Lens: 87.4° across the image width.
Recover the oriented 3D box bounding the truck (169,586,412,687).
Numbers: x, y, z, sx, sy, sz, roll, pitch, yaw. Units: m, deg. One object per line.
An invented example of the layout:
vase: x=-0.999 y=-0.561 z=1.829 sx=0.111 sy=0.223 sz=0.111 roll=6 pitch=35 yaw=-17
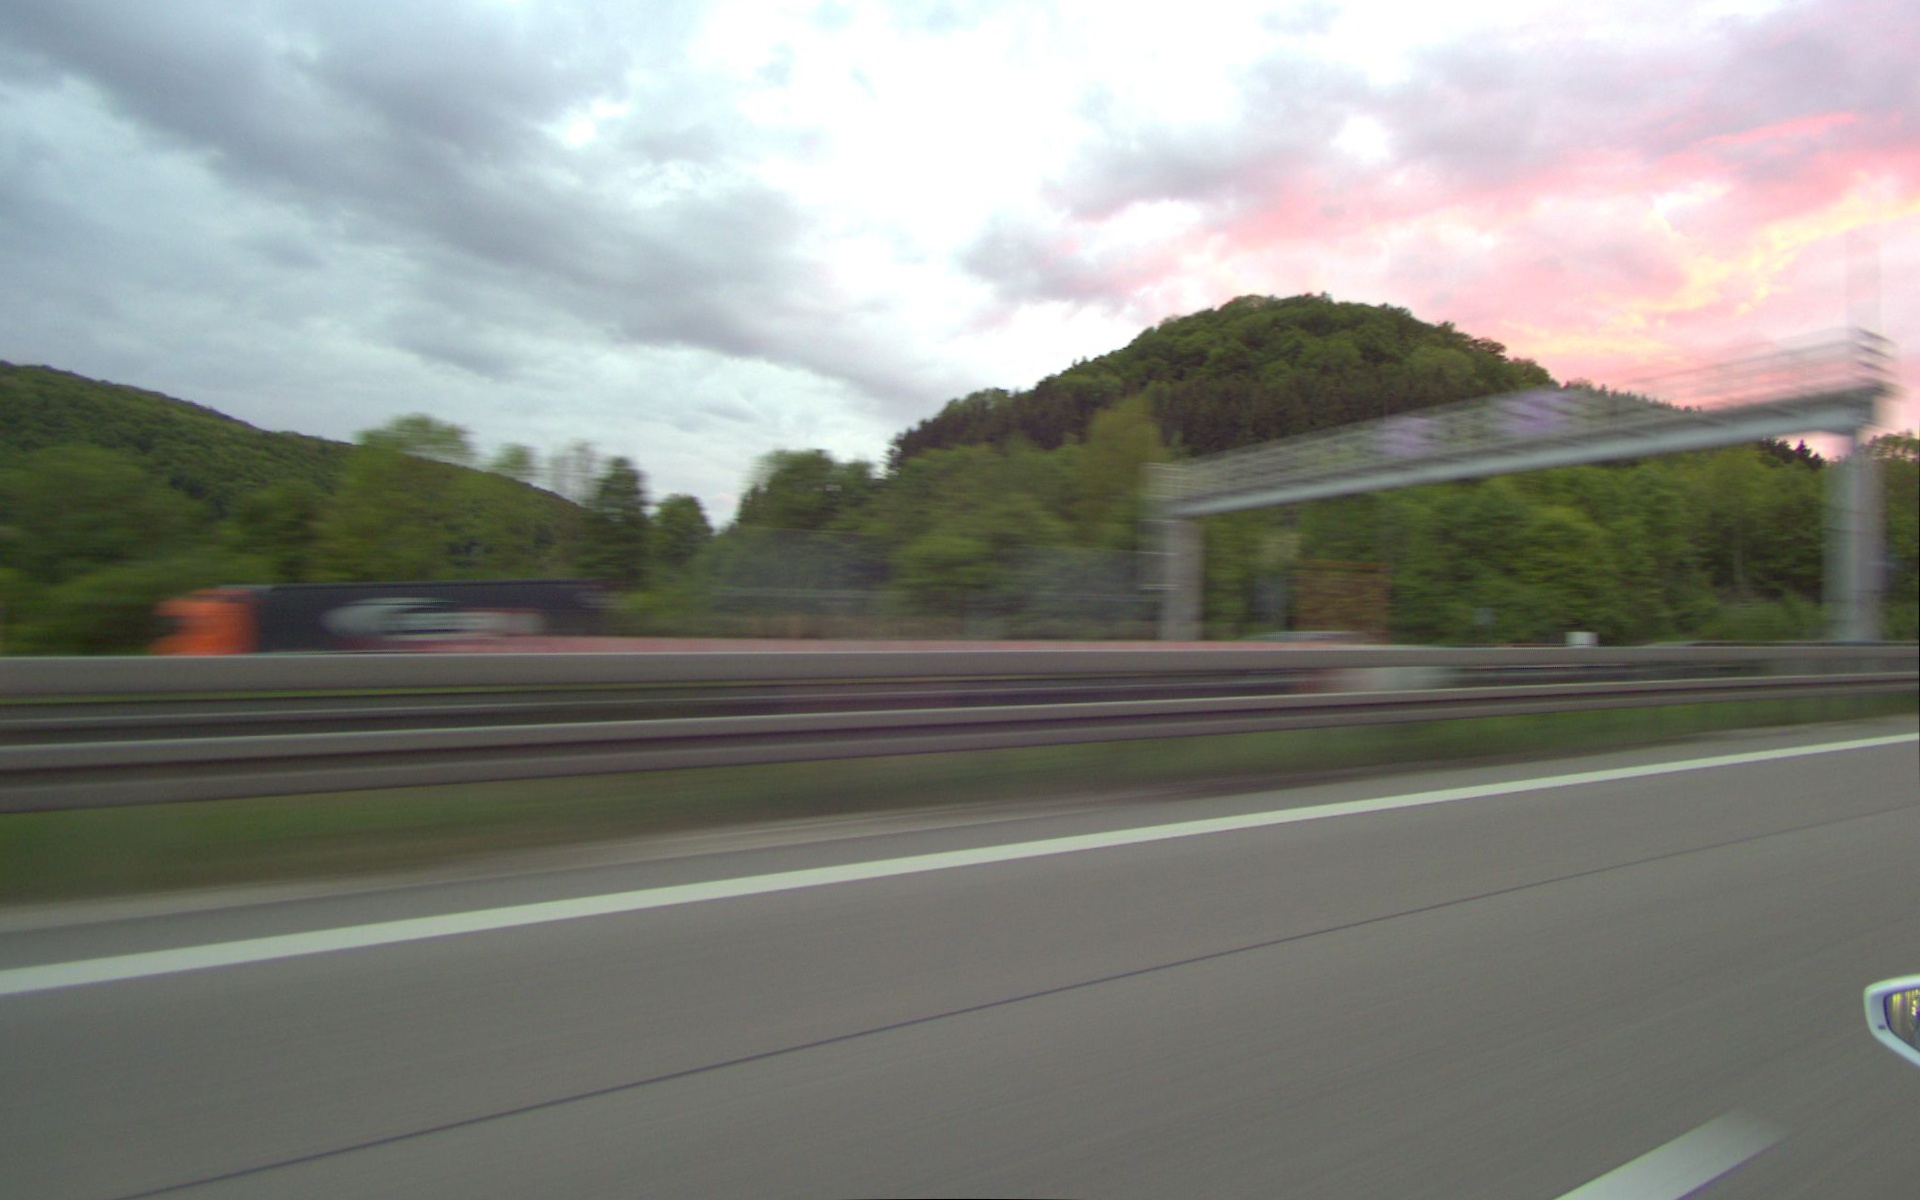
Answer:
truck: x=-26.195 y=1.411 z=39.585 sx=7.526 sy=3.728 sz=3.014 roll=1 pitch=-1 yaw=1

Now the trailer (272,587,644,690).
trailer: x=-19.469 y=1.470 z=39.514 sx=13.078 sy=3.728 sz=3.072 roll=1 pitch=-1 yaw=0

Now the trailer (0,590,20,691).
trailer: x=-46.694 y=1.614 z=41.118 sx=14.153 sy=4.160 sz=3.292 roll=0 pitch=-2 yaw=5
